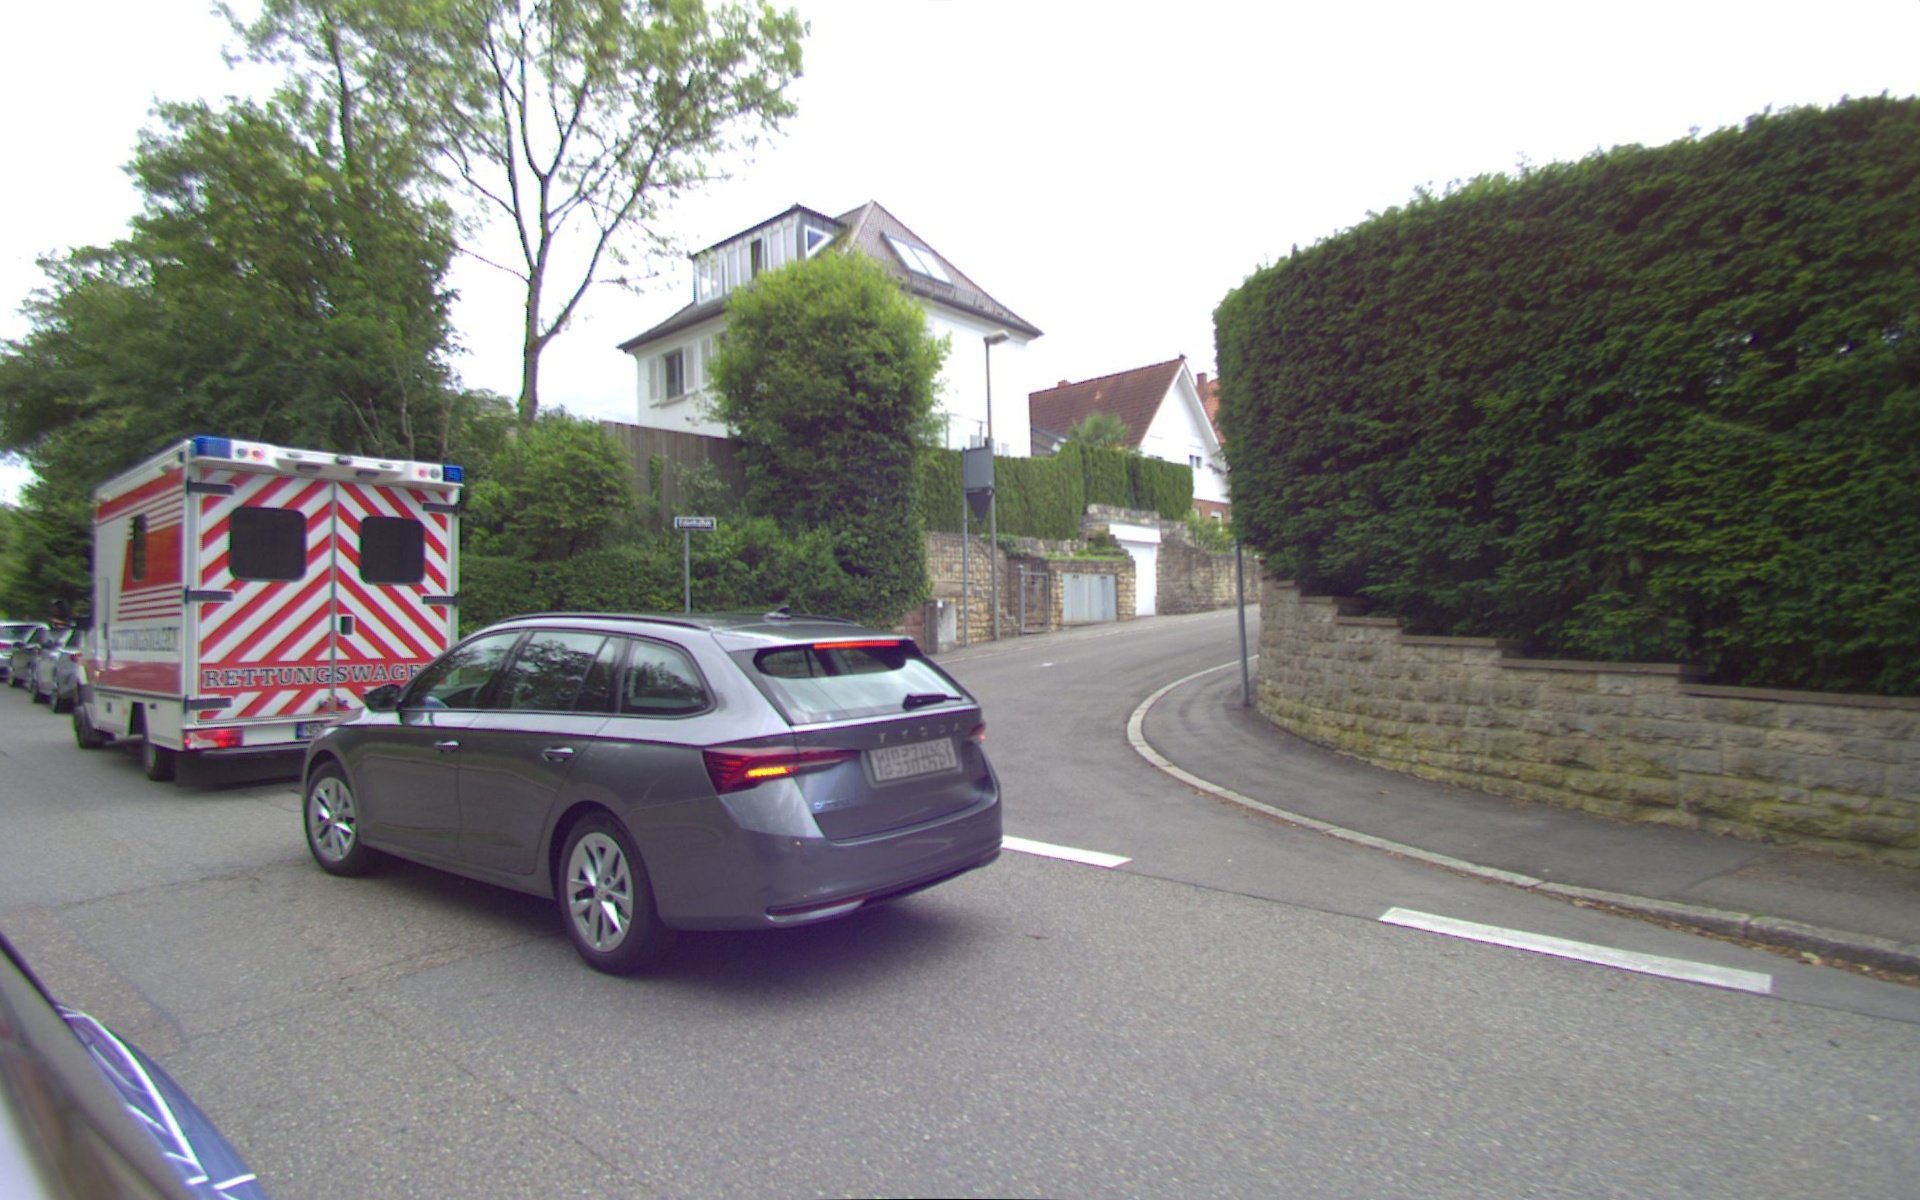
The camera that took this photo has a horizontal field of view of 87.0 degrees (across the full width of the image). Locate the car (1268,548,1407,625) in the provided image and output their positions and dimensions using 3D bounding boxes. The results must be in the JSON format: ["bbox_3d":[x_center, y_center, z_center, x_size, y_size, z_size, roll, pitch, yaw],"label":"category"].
[{"bbox_3d":[8.554,-0.336,22.763,1.738,1.483,3.949,-1,3,39],"label":"car"}]

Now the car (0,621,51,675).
[{"bbox_3d":[-28.425,1.399,29.884,3.812,1.516,1.704,-1,-3,38],"label":"car"}]

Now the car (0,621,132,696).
[{"bbox_3d":[-20.001,1.247,22.505,4.057,1.516,1.703,-1,-3,40],"label":"car"}]

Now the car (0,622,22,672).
[{"bbox_3d":[-32.227,1.499,32.834,4.597,1.574,1.898,-1,-3,38],"label":"car"}]

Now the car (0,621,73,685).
[{"bbox_3d":[-24.273,1.320,25.952,4.005,1.516,1.702,-1,-3,41],"label":"car"}]

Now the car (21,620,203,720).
[{"bbox_3d":[-14.882,1.131,17.664,4.862,1.516,1.778,-1,-3,42],"label":"car"}]

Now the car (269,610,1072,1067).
[{"bbox_3d":[-1.782,0.811,5.308,4.466,1.457,1.747,-1,-1,38],"label":"car"}]

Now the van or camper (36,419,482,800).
[{"bbox_3d":[-7.980,0.137,11.054,7.166,2.917,2.430,-1,-1,42],"label":"van or camper"}]
